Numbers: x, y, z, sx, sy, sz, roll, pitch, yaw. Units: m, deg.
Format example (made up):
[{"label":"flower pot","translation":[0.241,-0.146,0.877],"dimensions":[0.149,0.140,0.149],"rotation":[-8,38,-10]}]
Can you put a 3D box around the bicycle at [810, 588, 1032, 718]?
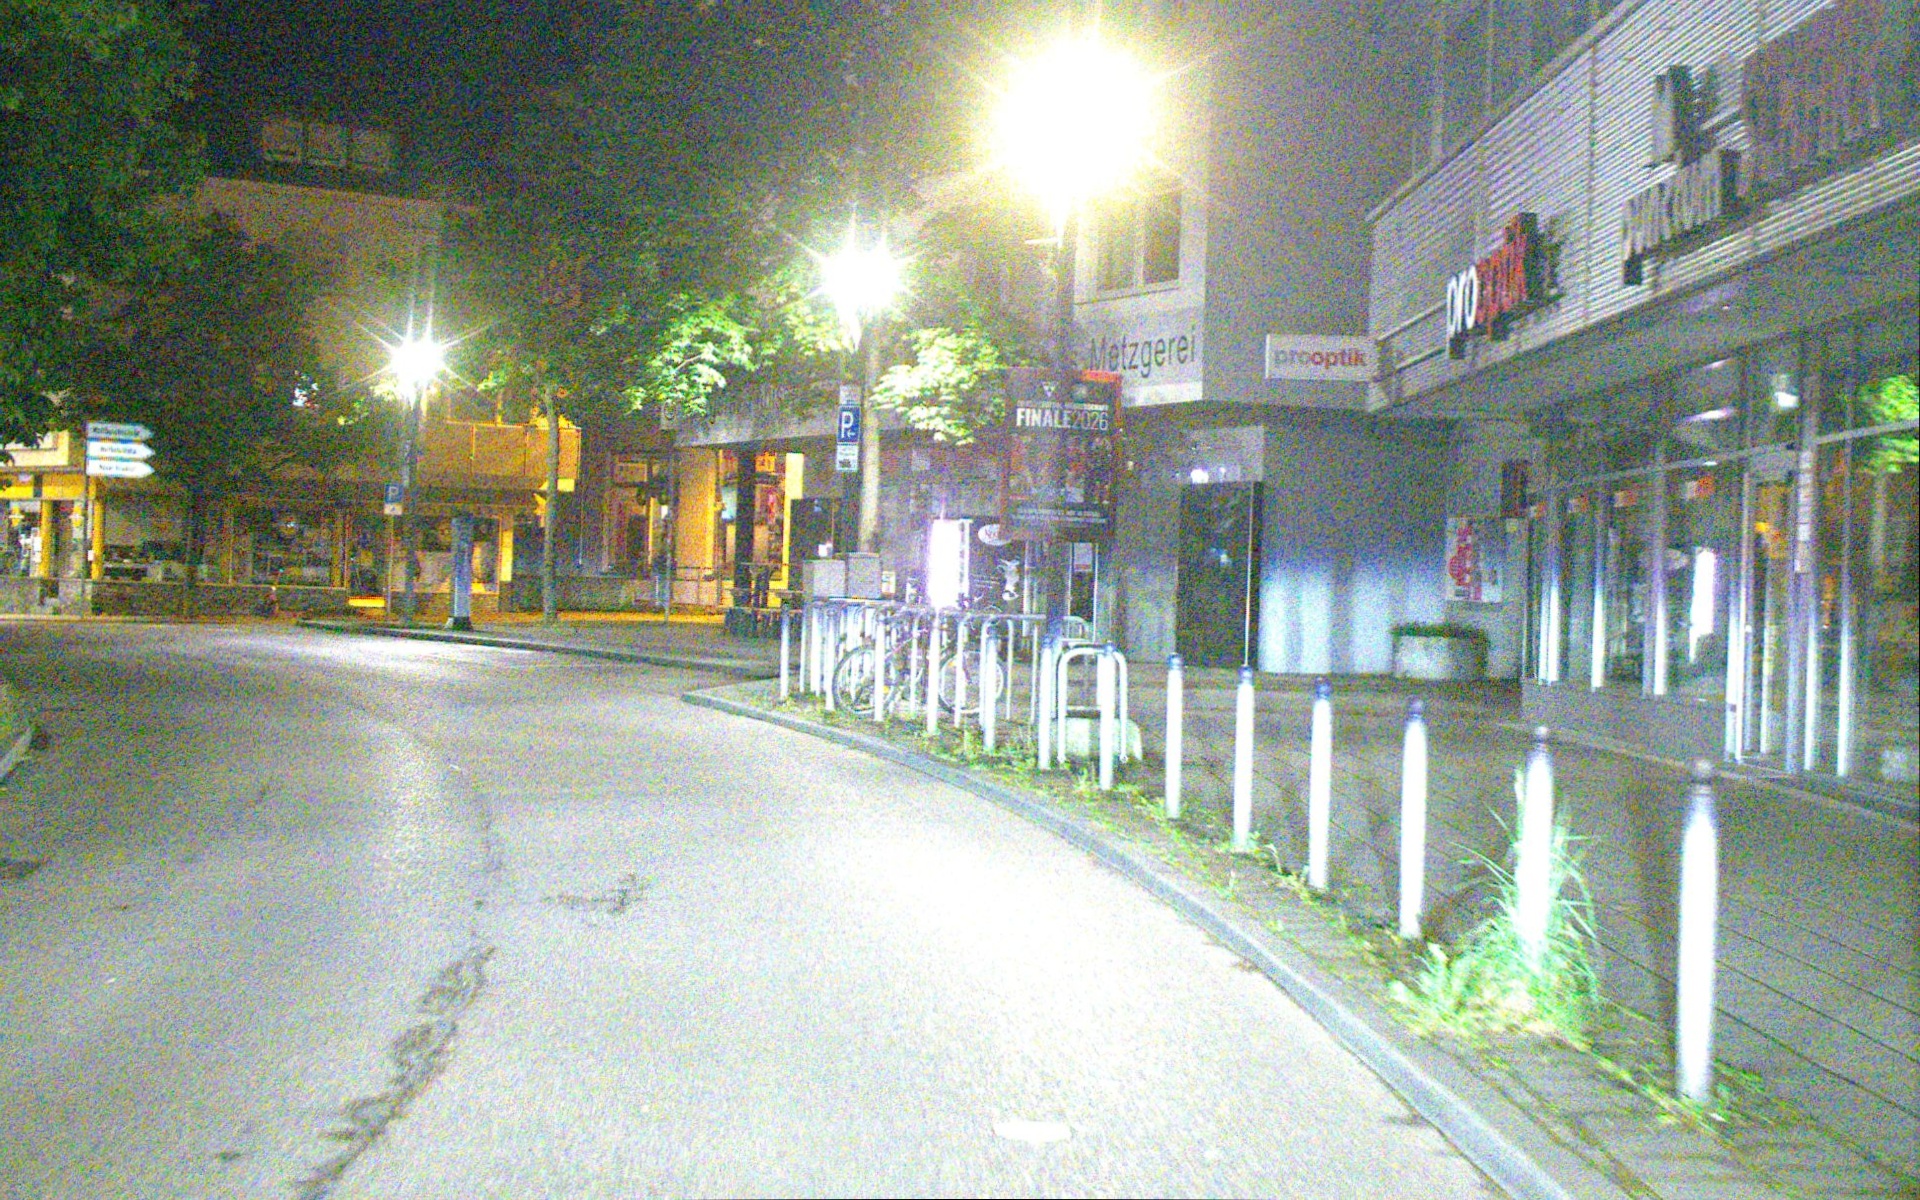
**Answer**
[{"label":"bicycle","translation":[-0.331,0.454,29.460],"dimensions":[1.749,1.059,0.656],"rotation":[1,1,-24]}]

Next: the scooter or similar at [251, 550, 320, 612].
[{"label":"scooter or similar","translation":[-14.164,-0.405,72.223],"dimensions":[1.246,1.223,0.598],"rotation":[3,1,-27]}]
